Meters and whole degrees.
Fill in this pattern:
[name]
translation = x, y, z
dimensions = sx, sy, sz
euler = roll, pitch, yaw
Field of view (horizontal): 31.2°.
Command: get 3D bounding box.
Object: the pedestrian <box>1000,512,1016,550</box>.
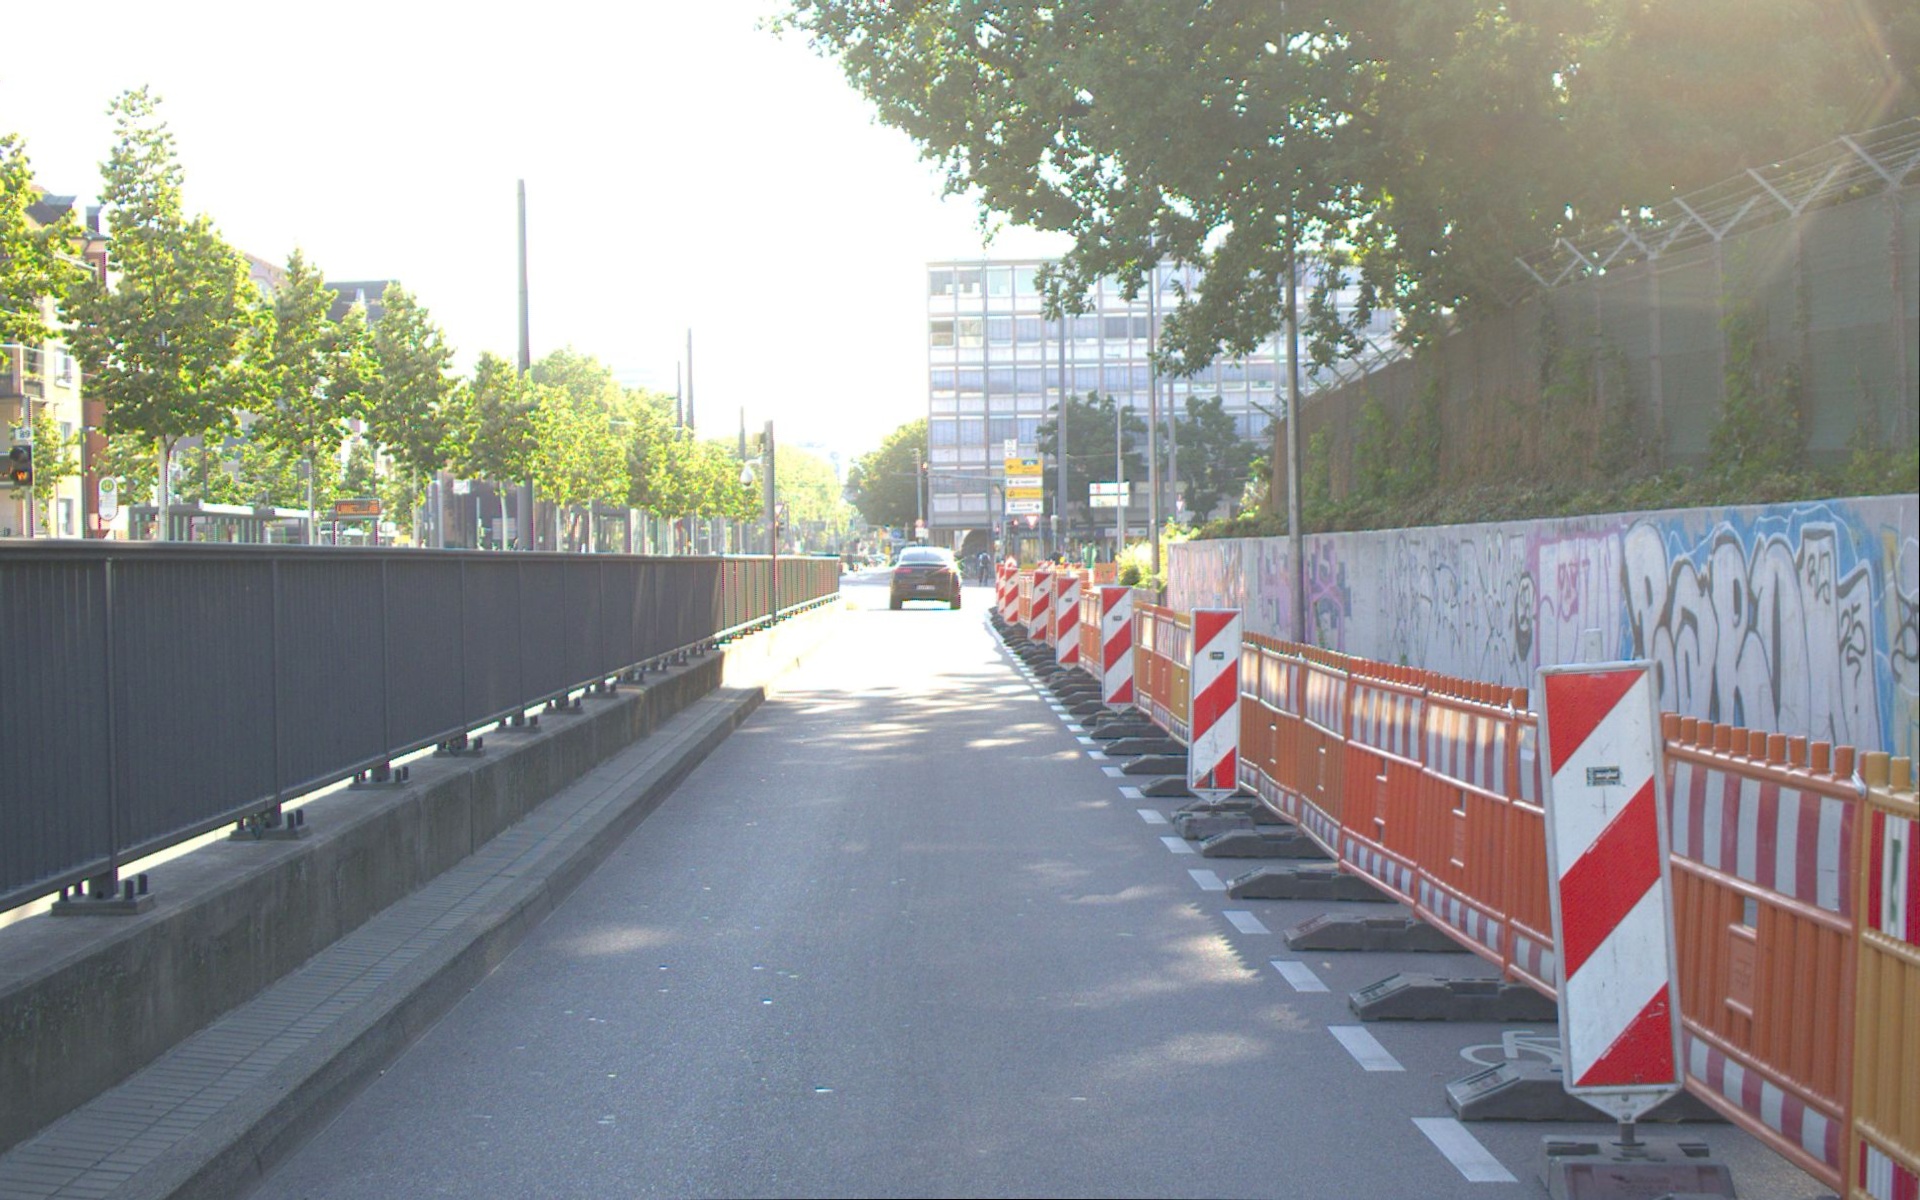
[pedestrian]
translation = 2.742, -3.941, 196.367
dimensions = 0.891, 2.105, 0.718
euler = 0, 2, 5

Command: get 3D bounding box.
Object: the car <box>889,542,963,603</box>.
[car]
translation = -0.945, -0.785, 97.263
dimensions = 2.005, 1.653, 4.000
euler = 1, 0, 0
